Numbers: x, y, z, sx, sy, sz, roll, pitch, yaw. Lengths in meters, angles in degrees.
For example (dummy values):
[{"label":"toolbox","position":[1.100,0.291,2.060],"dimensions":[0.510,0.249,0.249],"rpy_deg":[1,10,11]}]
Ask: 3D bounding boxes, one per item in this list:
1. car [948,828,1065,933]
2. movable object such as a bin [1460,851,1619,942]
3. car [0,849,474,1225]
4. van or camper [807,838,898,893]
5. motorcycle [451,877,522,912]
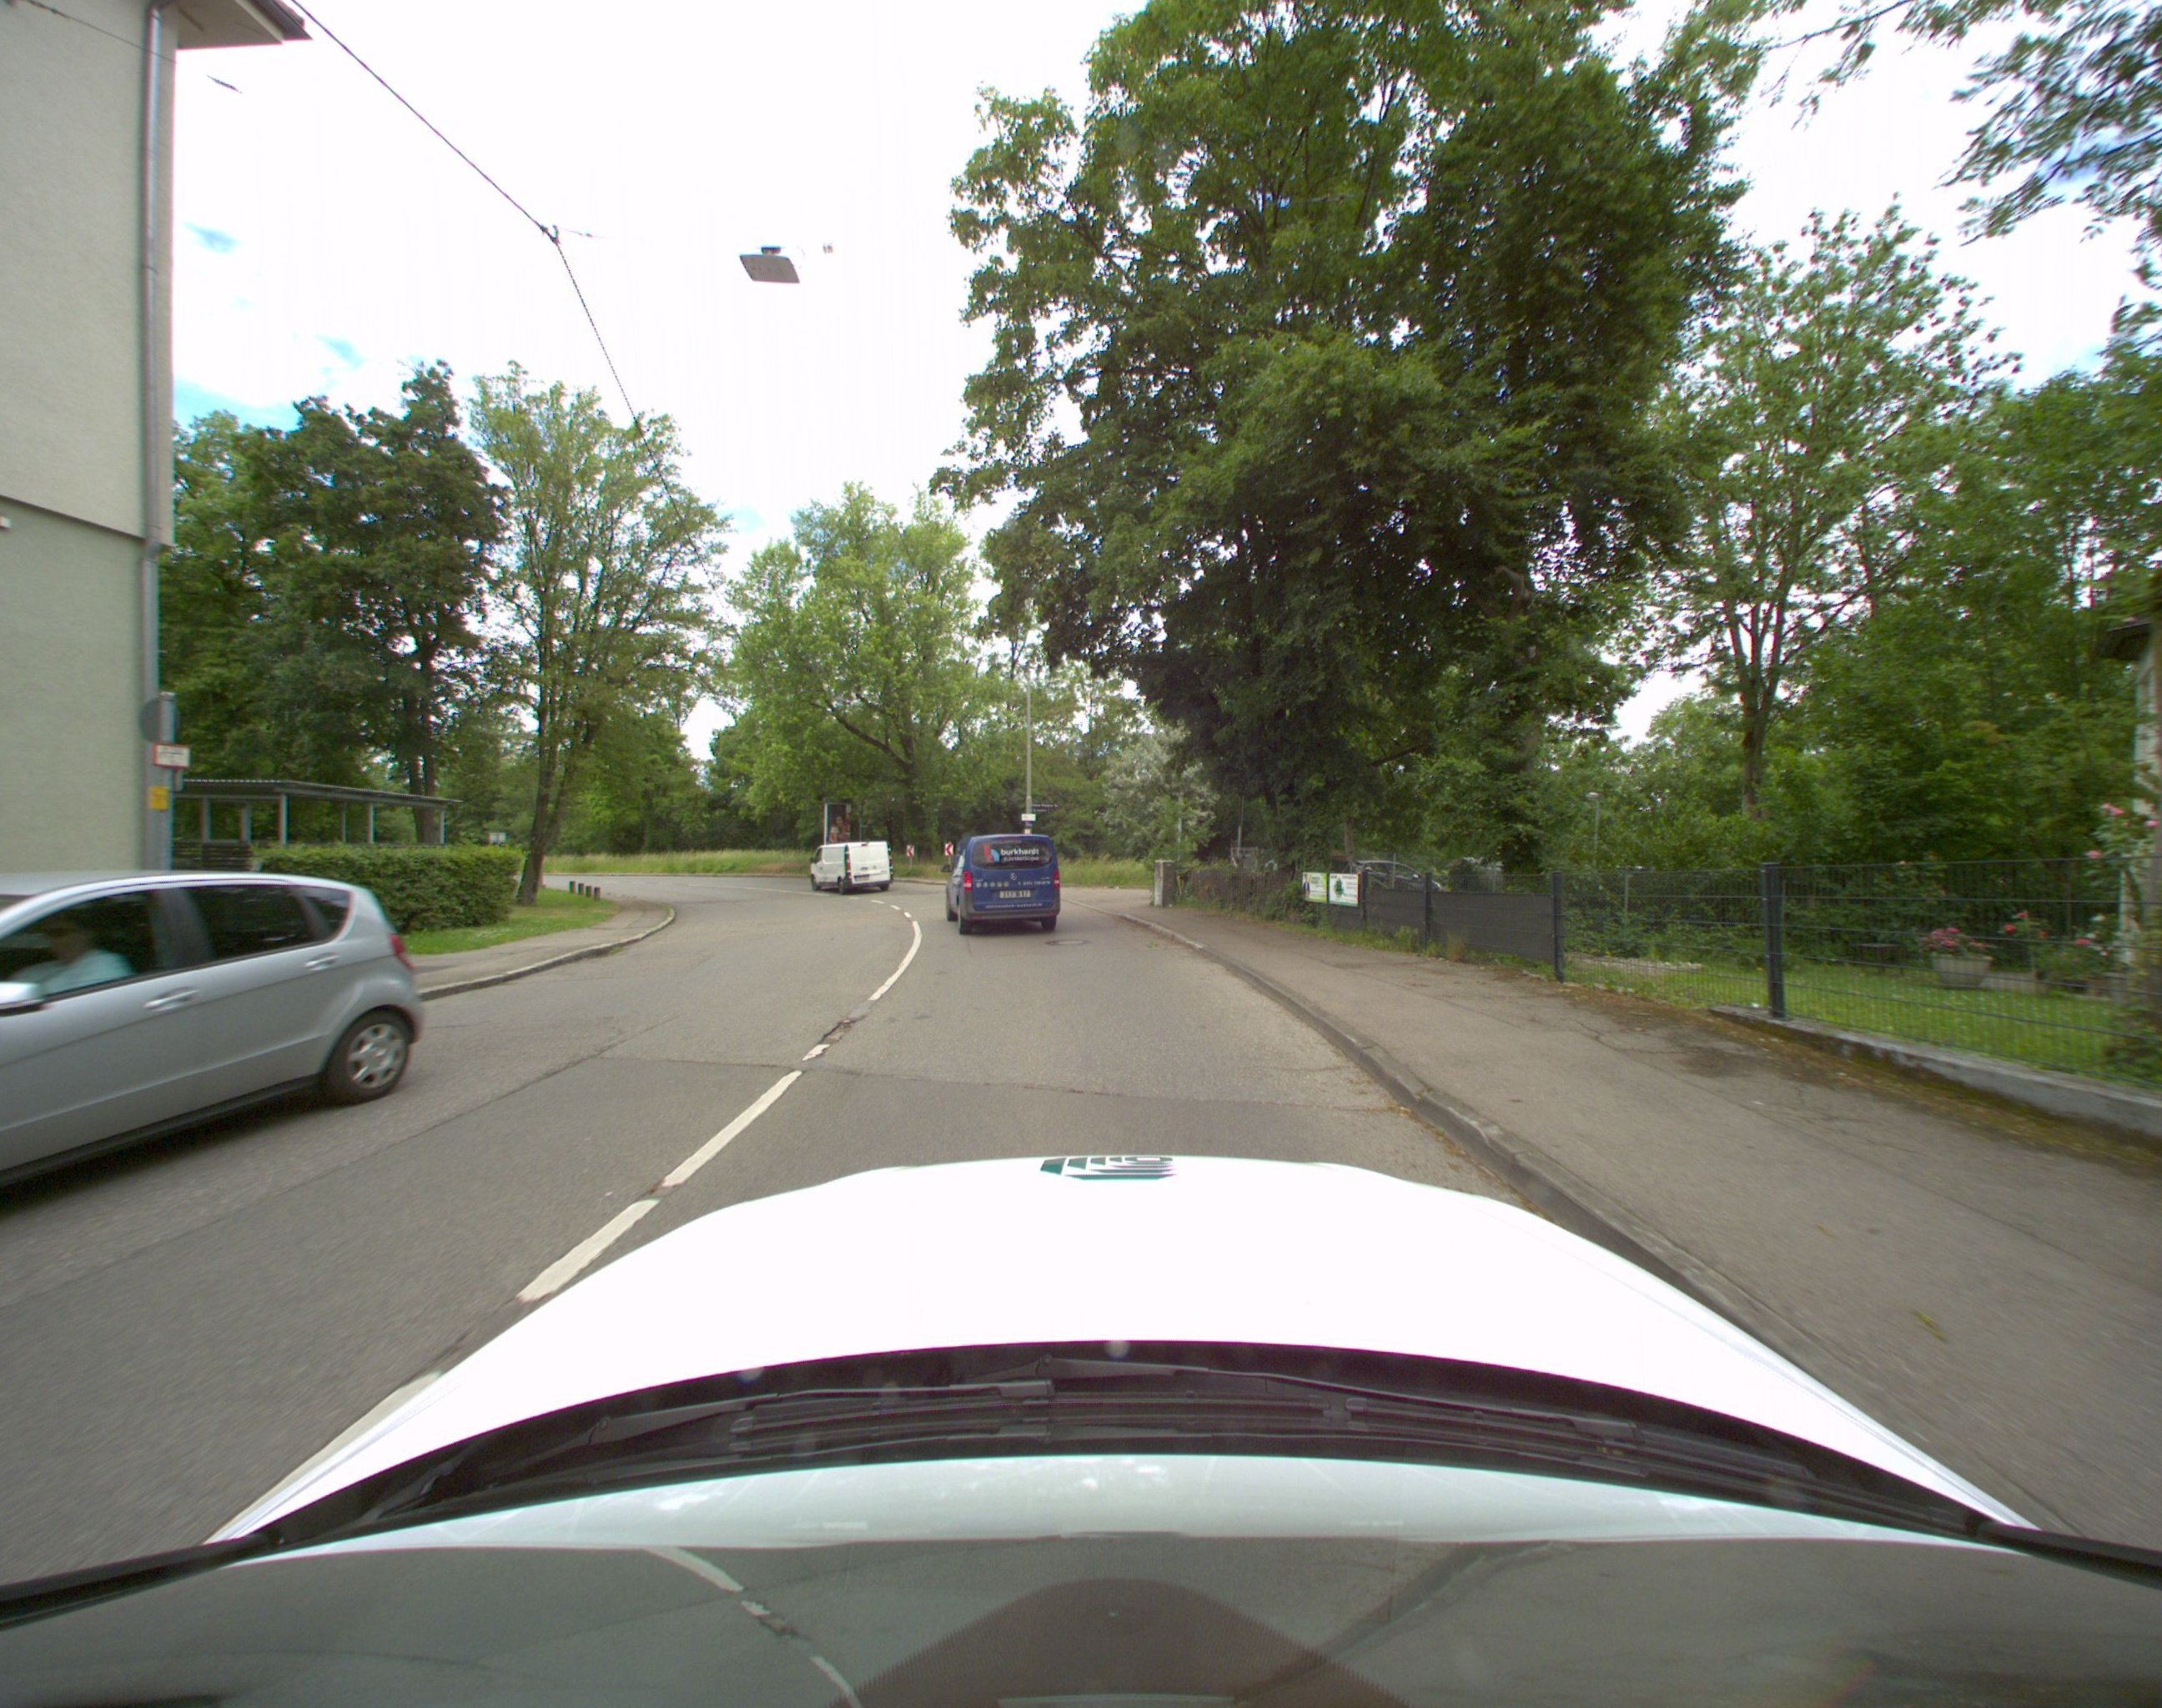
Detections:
[{"label":"car","position":[-1.682,0.475,16.896],"dimensions":[1.915,1.837,4.276],"rpy_deg":[-2,0,-12]},{"label":"movable object such as a bin","position":[9.697,0.842,17.404],"dimensions":[2.099,1.787,2.205],"rpy_deg":[0,0,-4]},{"label":"car","position":[-5.541,0.799,4.304],"dimensions":[1.717,1.605,3.975],"rpy_deg":[-1,1,-1]},{"label":"van or camper","position":[-9.245,0.392,32.664],"dimensions":[2.034,1.956,4.844],"rpy_deg":[-3,2,-34]},{"label":"motorcycle","position":[-21.691,1.468,29.767],"dimensions":[0.857,1.151,2.072],"rpy_deg":[-1,0,9]}]
